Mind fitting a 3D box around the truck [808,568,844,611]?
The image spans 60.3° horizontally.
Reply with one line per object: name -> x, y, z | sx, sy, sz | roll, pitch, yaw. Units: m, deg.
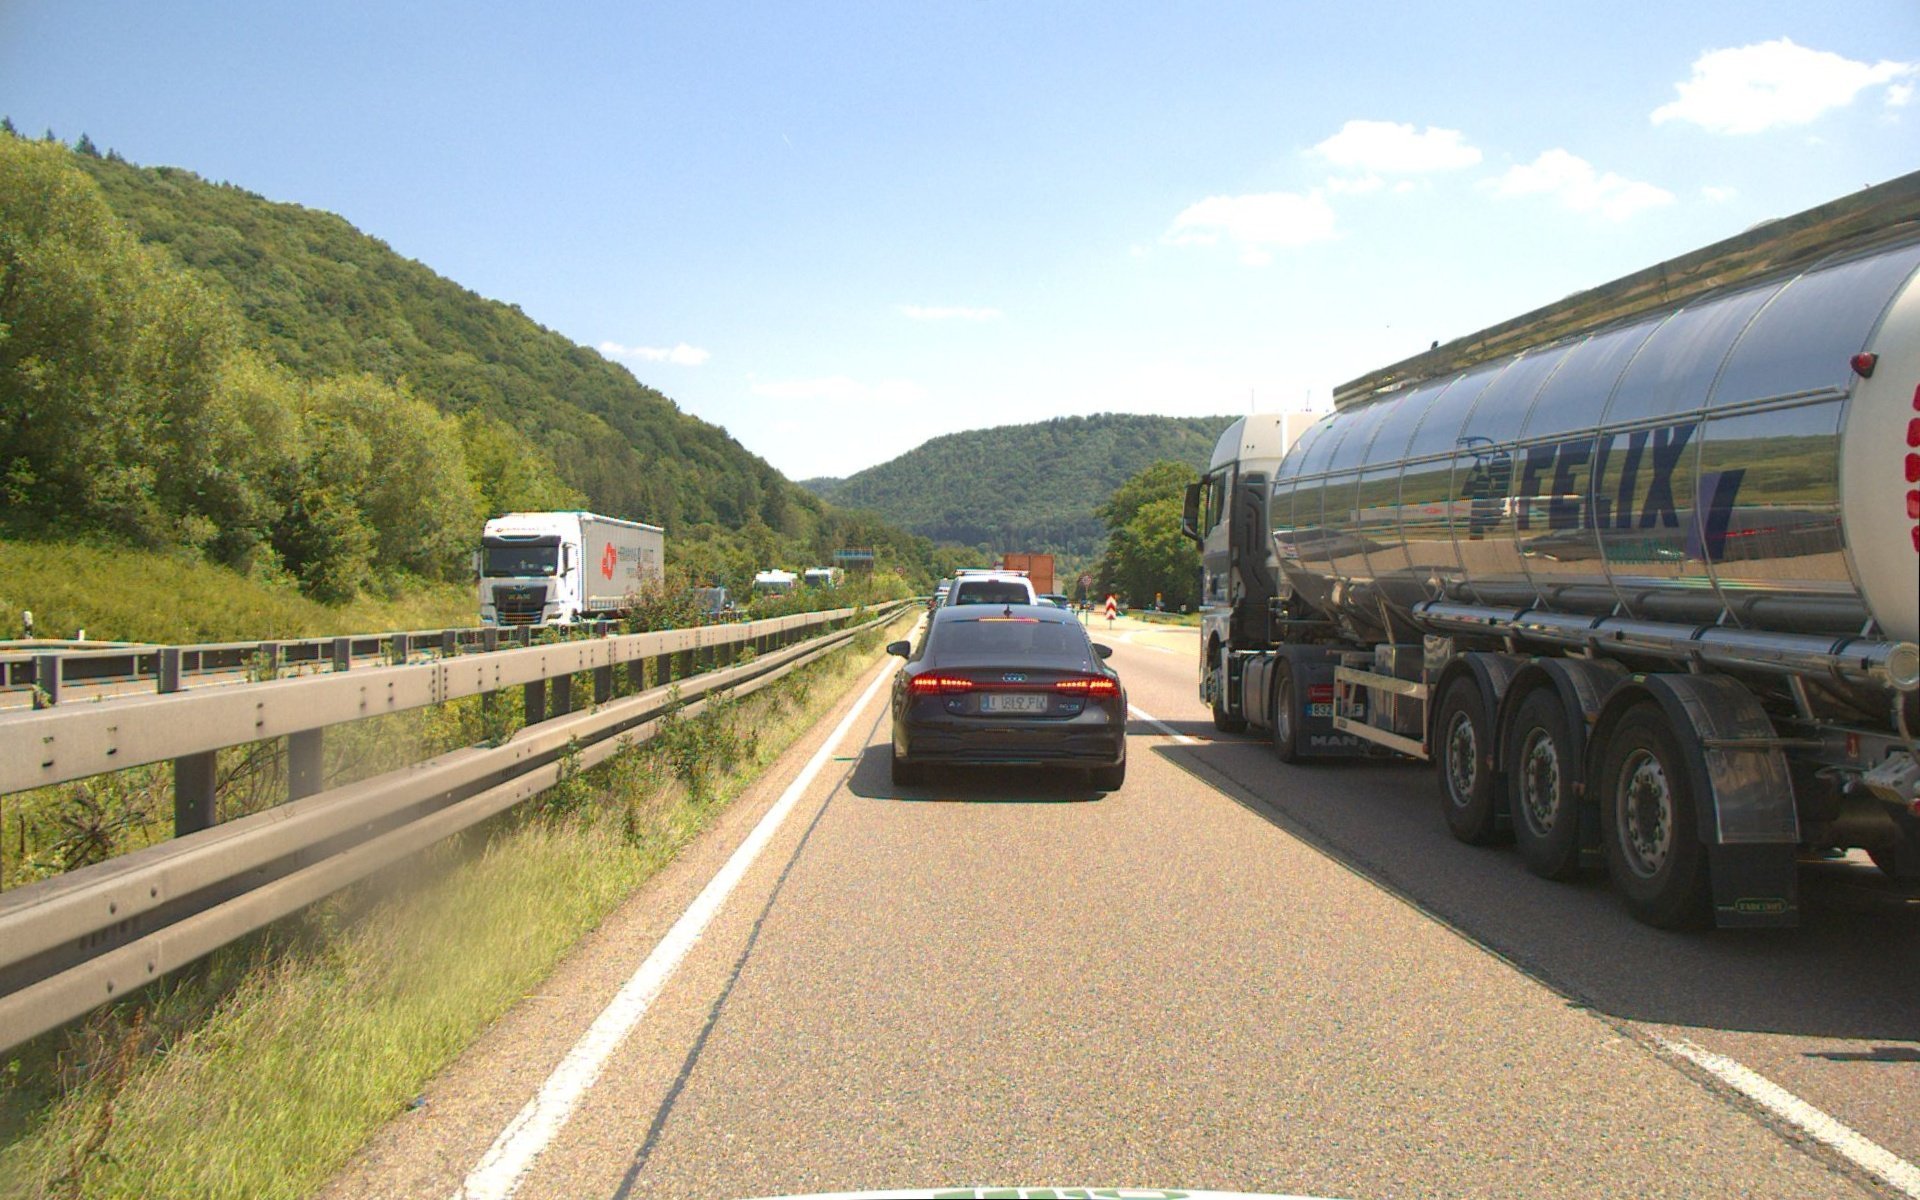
truck -> -12.994, -1.038, 160.826 | 2.811, 4.050, 9.030 | 1, 0, -1

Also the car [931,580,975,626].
car -> -0.349, 0.130, 75.485 | 1.953, 2.049, 3.999 | 0, 0, -1

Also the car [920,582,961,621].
car -> -0.816, 0.055, 71.814 | 1.677, 1.647, 4.000 | 0, 0, 1

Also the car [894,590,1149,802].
car -> 0.367, 0.691, 14.017 | 1.812, 1.514, 4.081 | 1, 0, -3

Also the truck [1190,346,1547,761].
truck -> 4.166, -0.435, 17.998 | 2.460, 3.824, 5.244 | 1, 0, -1

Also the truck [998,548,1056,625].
truck -> 3.755, -0.732, 96.096 | 2.760, 4.073, 14.955 | 1, 0, 0

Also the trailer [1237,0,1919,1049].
trailer -> 4.291, -0.403, 11.502 | 2.486, 3.801, 11.888 | 1, 0, -1

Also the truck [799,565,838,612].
truck -> -12.886, -1.014, 151.193 | 2.811, 4.076, 10.168 | 1, 0, -1

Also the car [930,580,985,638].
car -> -0.115, 0.308, 60.477 | 1.953, 2.049, 3.999 | 0, 0, -1

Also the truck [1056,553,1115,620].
truck -> 8.056, -0.841, 108.321 | 2.760, 4.073, 14.955 | 1, 0, 0

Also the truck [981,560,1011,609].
truck -> 2.670, -1.147, 126.470 | 1.953, 3.507, 11.810 | 1, 0, 0

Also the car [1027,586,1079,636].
car -> 3.813, 0.434, 68.457 | 1.952, 2.038, 4.000 | 0, 0, 1

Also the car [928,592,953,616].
car -> -1.324, 0.248, 113.297 | 1.677, 1.647, 4.000 | 0, 0, 1

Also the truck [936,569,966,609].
truck -> -0.777, -0.999, 150.010 | 2.575, 3.501, 11.420 | 0, 0, 0

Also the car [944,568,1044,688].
car -> 0.518, 0.437, 28.035 | 1.543, 1.865, 3.999 | 1, 0, -1

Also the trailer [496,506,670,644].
trailer -> -12.494, -0.770, 56.412 | 2.725, 4.069, 14.158 | 1, 0, 0

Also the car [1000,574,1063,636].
car -> 2.431, 0.155, 56.961 | 1.953, 2.049, 4.000 | 0, 0, -1

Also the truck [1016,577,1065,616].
truck -> 9.945, -0.394, 201.733 | 3.712, 4.491, 14.968 | 0, 0, 12

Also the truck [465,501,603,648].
truck -> -12.438, -0.714, 48.739 | 2.672, 4.071, 5.369 | -1, 0, 0

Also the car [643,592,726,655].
car -> -8.435, 0.692, 51.017 | 1.883, 1.828, 4.599 | 1, 0, -1

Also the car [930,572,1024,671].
car -> 0.333, 0.454, 36.719 | 1.953, 2.049, 3.999 | 1, 0, -1

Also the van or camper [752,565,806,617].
van or camper -> -12.260, -0.597, 112.532 | 2.536, 3.394, 7.650 | 0, 0, 3
